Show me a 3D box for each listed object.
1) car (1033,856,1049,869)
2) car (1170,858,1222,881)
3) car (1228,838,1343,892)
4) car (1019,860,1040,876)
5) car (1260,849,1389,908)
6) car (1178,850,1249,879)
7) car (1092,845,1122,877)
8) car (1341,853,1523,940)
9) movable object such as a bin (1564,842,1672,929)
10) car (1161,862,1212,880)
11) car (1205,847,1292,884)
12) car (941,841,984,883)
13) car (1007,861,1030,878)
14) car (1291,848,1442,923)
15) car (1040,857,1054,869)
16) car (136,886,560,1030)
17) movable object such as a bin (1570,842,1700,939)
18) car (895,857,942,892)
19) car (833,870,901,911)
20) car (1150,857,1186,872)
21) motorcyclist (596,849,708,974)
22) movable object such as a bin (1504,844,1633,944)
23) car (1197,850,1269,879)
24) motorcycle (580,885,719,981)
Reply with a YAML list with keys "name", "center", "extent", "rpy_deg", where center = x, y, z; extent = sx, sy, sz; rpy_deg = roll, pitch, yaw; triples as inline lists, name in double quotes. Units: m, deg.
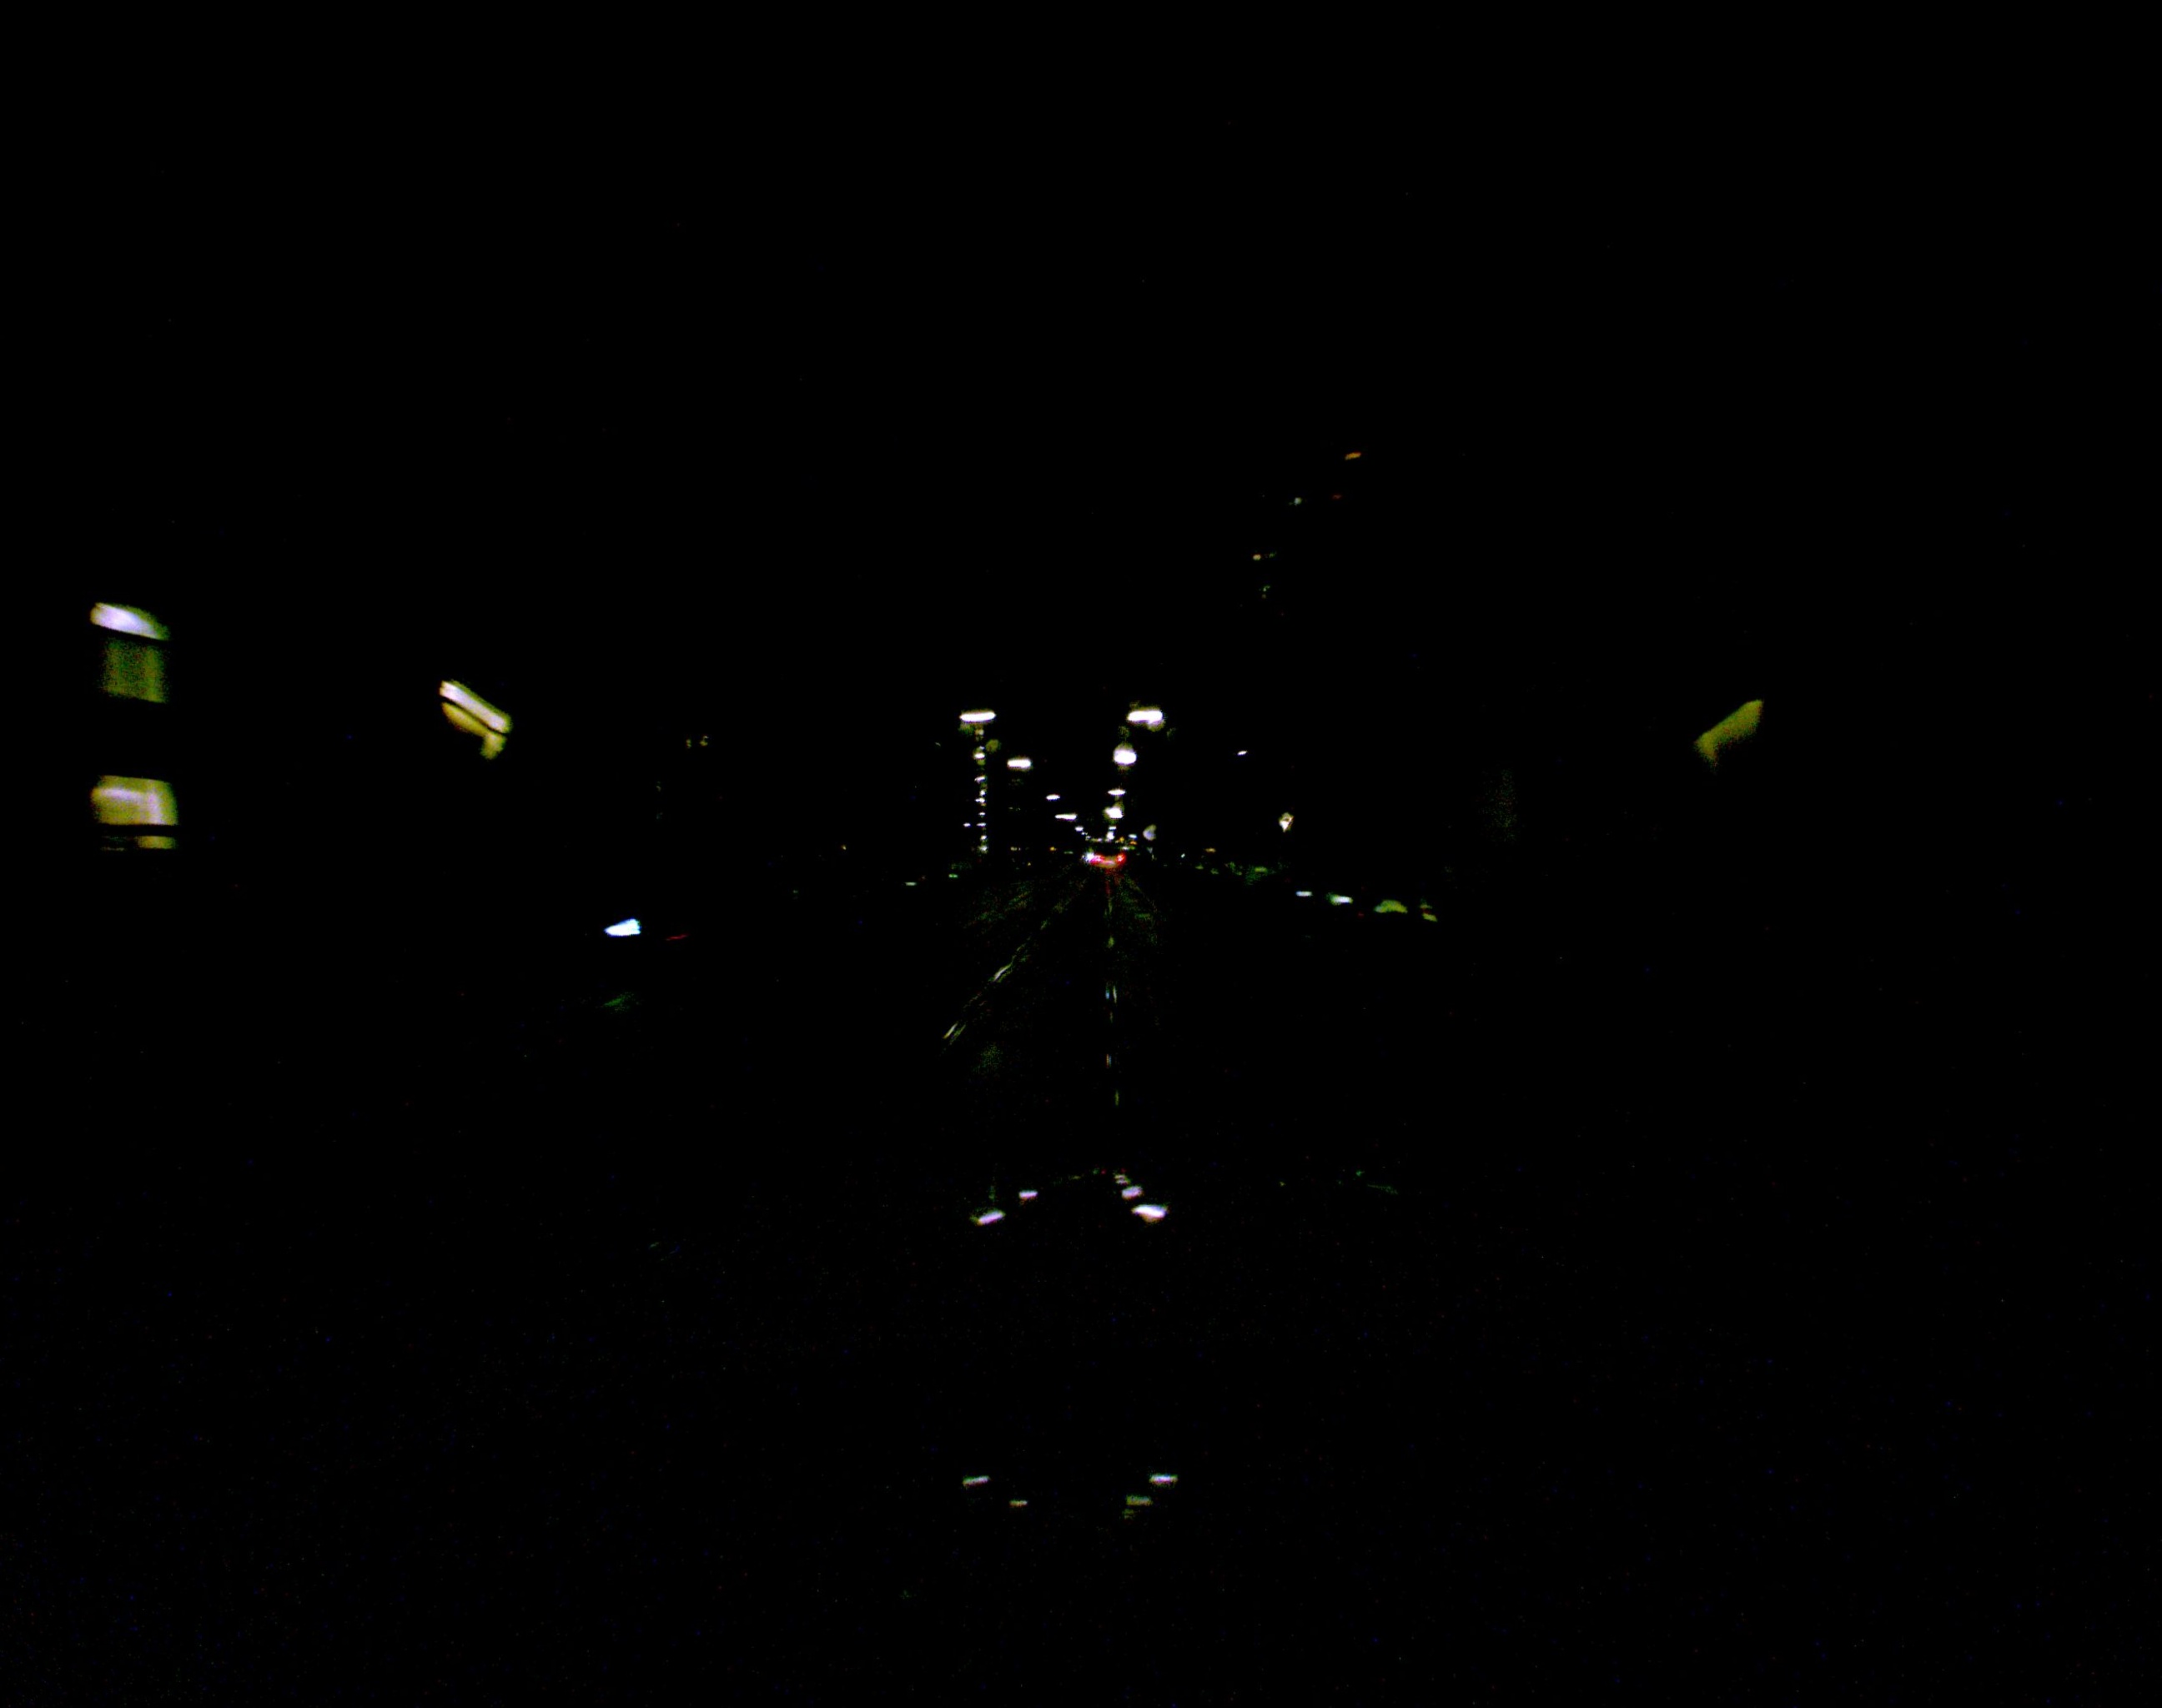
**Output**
- name: "car"
  center: [-5.617, 1.239, 114.609]
  extent: [2.015, 1.761, 4.000]
  rpy_deg: [1, -1, 1]
- name: "car"
  center: [8.742, 1.165, 61.788]
  extent: [2.030, 1.623, 3.851]
  rpy_deg: [0, -1, 43]
- name: "car"
  center: [7.467, 0.383, 29.583]
  extent: [4.195, 1.839, 1.940]
  rpy_deg: [1, 0, -40]
- name: "car"
  center: [-5.985, 1.623, 95.225]
  extent: [1.992, 1.785, 4.001]
  rpy_deg: [1, -1, 1]
- name: "car"
  center: [6.564, 0.622, 21.757]
  extent: [3.857, 1.438, 1.580]
  rpy_deg: [1, -1, -43]
- name: "car"
  center: [7.339, 0.532, 45.028]
  extent: [3.909, 1.533, 1.800]
  rpy_deg: [0, 0, -40]
- name: "car"
  center: [2.053, 0.544, 65.556]
  extent: [2.210, 2.442, 5.383]
  rpy_deg: [-1, 0, 0]
- name: "car"
  center: [6.811, 0.736, 15.639]
  extent: [3.810, 1.458, 1.749]
  rpy_deg: [1, -1, -41]
- name: "movable object such as a bin"
  center: [9.323, 0.527, 14.225]
  extent: [1.018, 1.407, 1.420]
  rpy_deg: [-2, 0, 7]
- name: "car"
  center: [8.784, 1.387, 67.789]
  extent: [4.272, 1.454, 1.927]
  rpy_deg: [1, -1, -43]
- name: "car"
  center: [7.437, 0.464, 35.946]
  extent: [1.671, 1.404, 4.485]
  rpy_deg: [-1, 1, 43]
- name: "car"
  center: [-7.572, 0.486, 52.487]
  extent: [2.019, 2.499, 5.605]
  rpy_deg: [1, 0, -1]
- name: "car"
  center: [-6.634, 1.661, 86.615]
  extent: [2.102, 1.765, 4.963]
  rpy_deg: [1, -1, -1]
- name: "car"
  center: [6.563, 0.641, 18.506]
  extent: [1.785, 1.488, 3.879]
  rpy_deg: [-2, -1, 44]
- name: "car"
  center: [-5.257, 1.402, 126.078]
  extent: [2.015, 1.761, 4.000]
  rpy_deg: [1, -1, 1]
- name: "car"
  center: [-8.903, 1.154, 10.467]
  extent: [1.661, 1.386, 4.003]
  rpy_deg: [1, -1, 2]
- name: "movable object such as a bin"
  center: [8.710, 0.545, 12.839]
  extent: [1.411, 1.407, 1.020]
  rpy_deg: [-2, 0, -19]
- name: "car"
  center: [-8.004, 0.980, 40.428]
  extent: [1.636, 1.507, 3.618]
  rpy_deg: [0, 1, -1]
- name: "car"
  center: [-8.145, 1.364, 31.358]
  extent: [1.604, 1.428, 3.807]
  rpy_deg: [0, -1, 0]
- name: "car"
  center: [9.397, 1.154, 87.637]
  extent: [1.886, 1.572, 3.987]
  rpy_deg: [0, -1, 40]
- name: "motorcyclist"
  center: [-6.499, 0.849, 12.405]
  extent: [0.914, 1.740, 1.137]
  rpy_deg: [-6, -2, 4]
- name: "movable object such as a bin"
  center: [7.373, 0.574, 12.352]
  extent: [1.352, 1.407, 1.020]
  rpy_deg: [-1, 0, -19]
- name: "car"
  center: [7.947, 0.550, 42.514]
  extent: [3.878, 1.433, 1.799]
  rpy_deg: [1, -1, -44]
- name: "motorcycle"
  center: [-6.471, 1.137, 12.367]
  extent: [0.813, 1.230, 2.003]
  rpy_deg: [-6, -2, 4]
